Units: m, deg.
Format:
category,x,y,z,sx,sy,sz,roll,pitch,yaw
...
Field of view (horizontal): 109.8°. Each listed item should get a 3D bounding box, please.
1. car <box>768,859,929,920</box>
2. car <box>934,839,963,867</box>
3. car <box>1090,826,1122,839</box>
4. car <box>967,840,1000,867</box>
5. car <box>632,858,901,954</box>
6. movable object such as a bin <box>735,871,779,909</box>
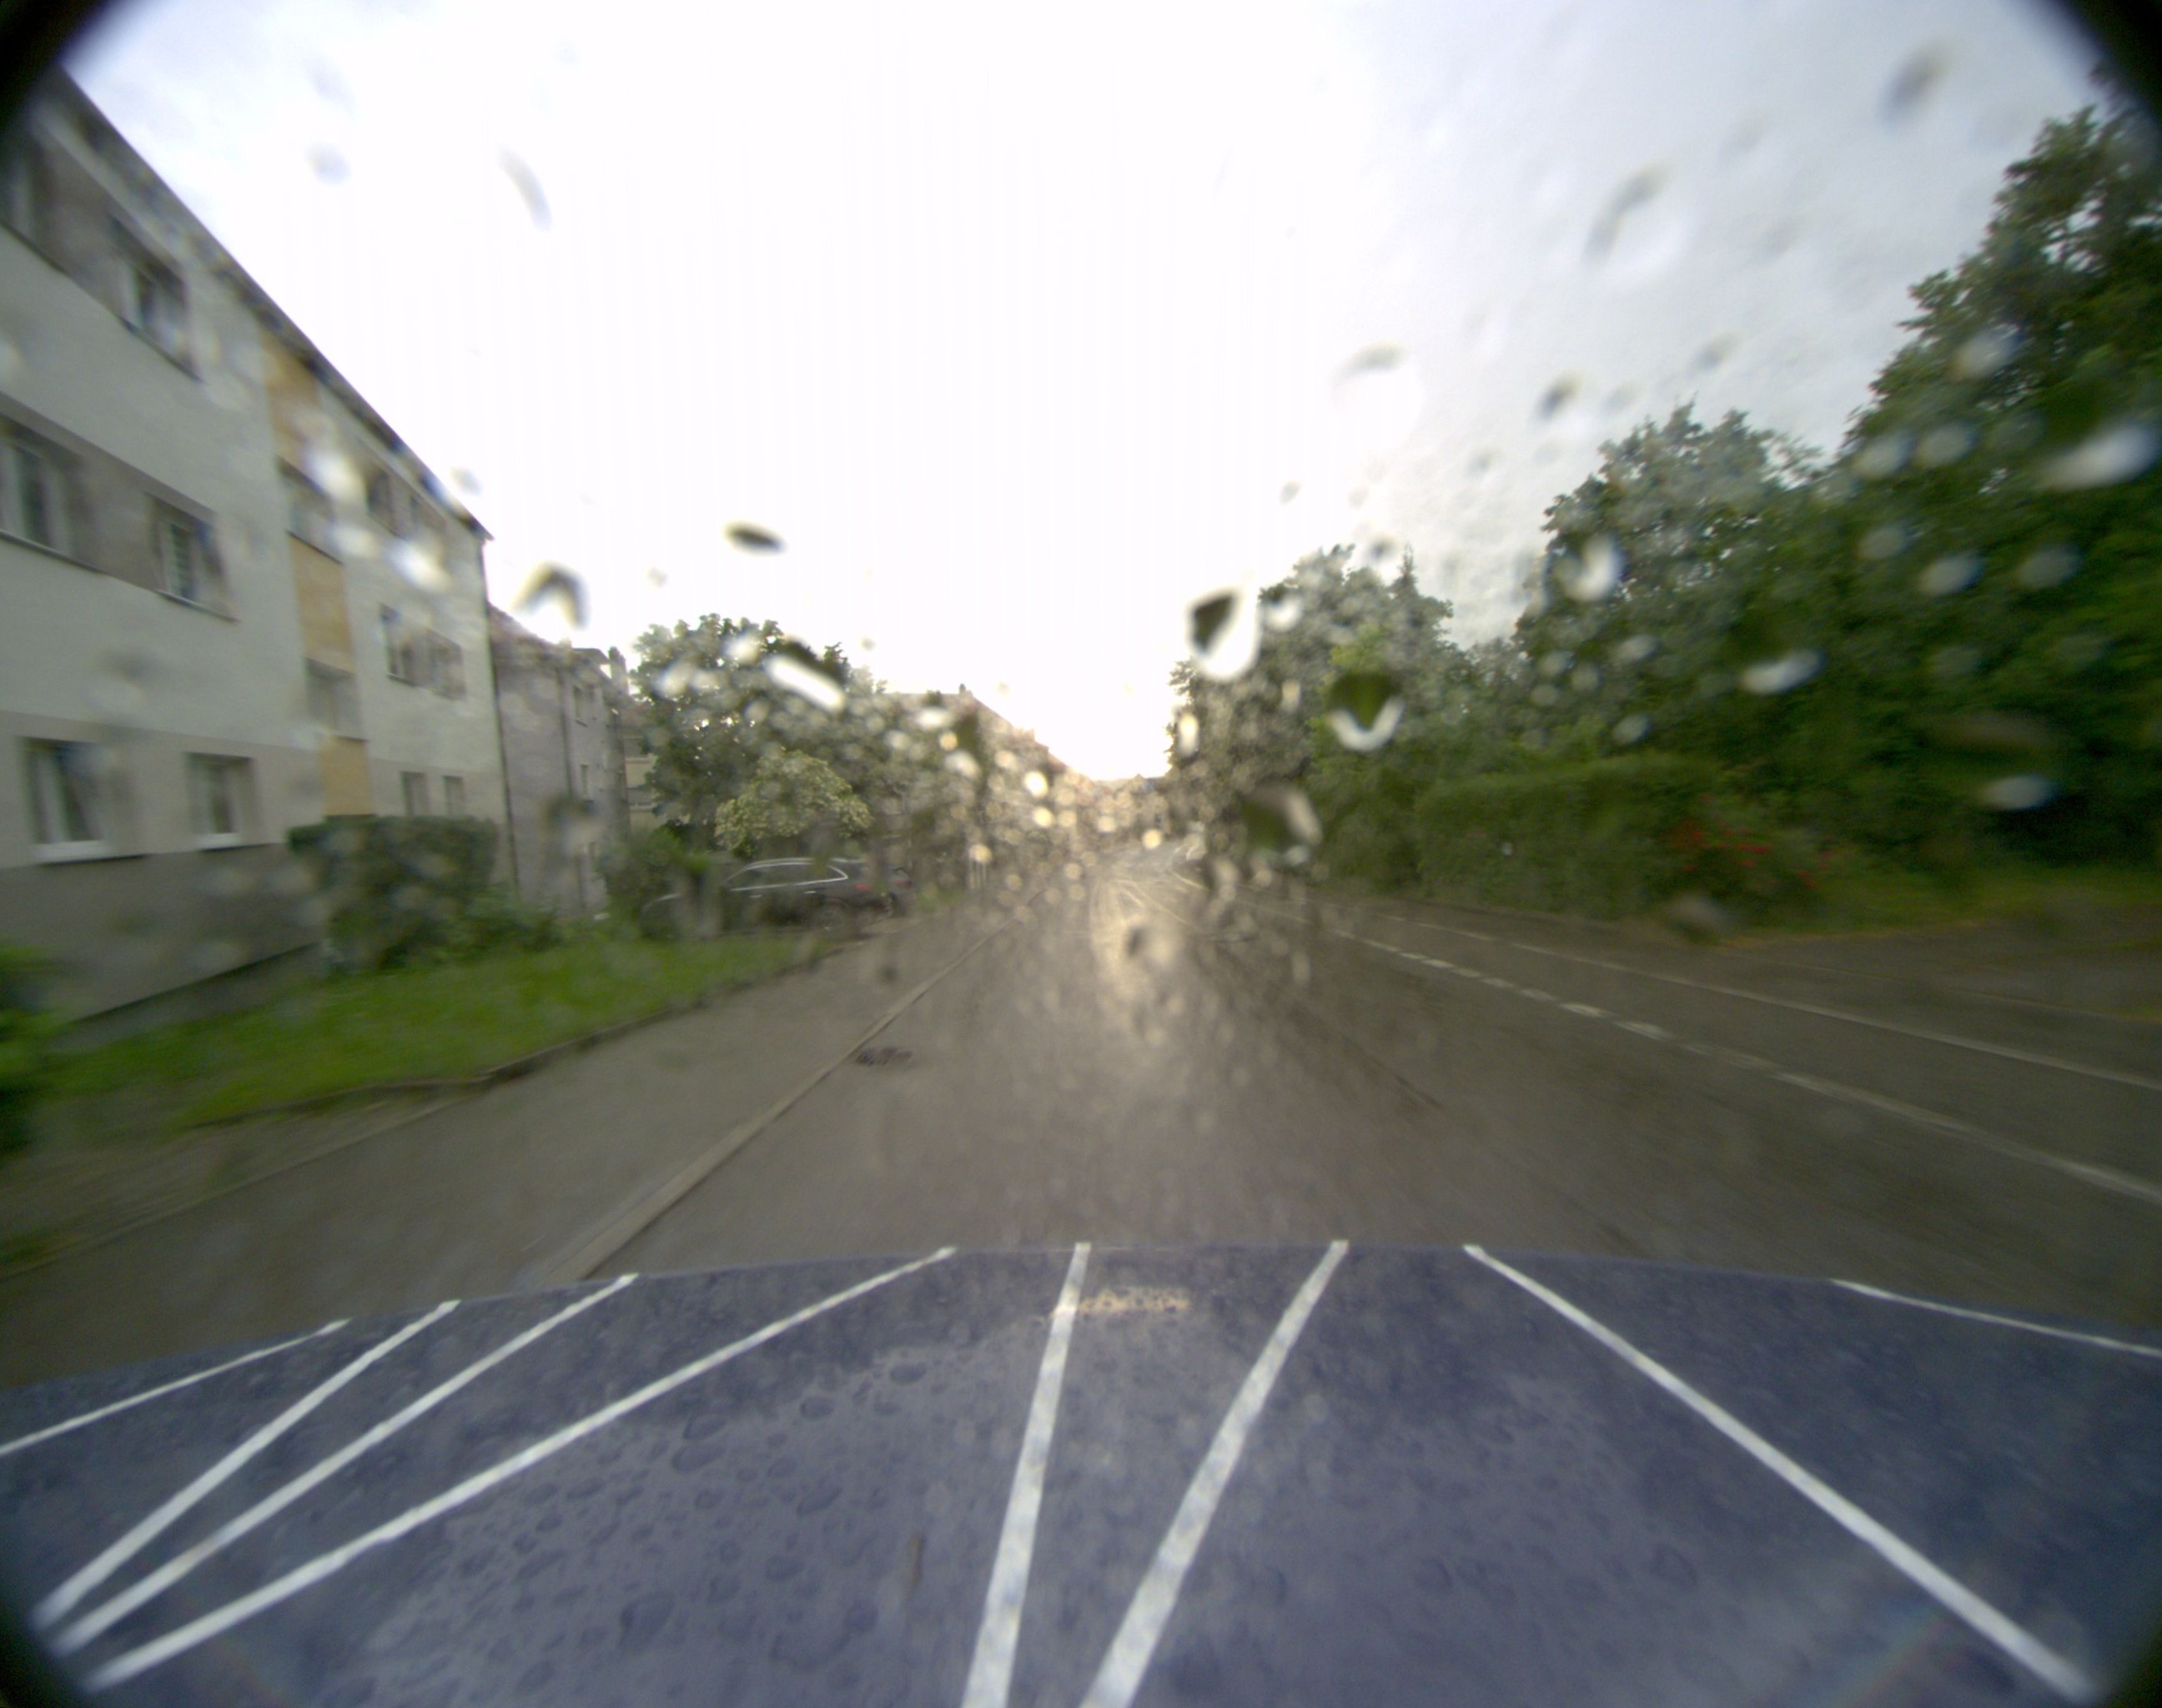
category,x,y,z,sx,sy,sz,roll,pitch,yaw
car,-6.134,0.909,20.338,3.753,1.450,1.724,-1,1,0
car,-9.048,-0.118,51.647,1.797,1.585,4.248,0,5,-12
car,3.403,-2.937,103.161,3.937,1.773,1.767,-1,5,-15
car,-6.787,-0.089,52.720,1.725,1.555,3.786,0,5,-16
car,-6.051,0.961,15.093,4.539,1.651,1.855,-1,1,-5
movable object such as a bin,-13.187,1.471,30.964,1.140,1.386,1.119,-5,2,4
